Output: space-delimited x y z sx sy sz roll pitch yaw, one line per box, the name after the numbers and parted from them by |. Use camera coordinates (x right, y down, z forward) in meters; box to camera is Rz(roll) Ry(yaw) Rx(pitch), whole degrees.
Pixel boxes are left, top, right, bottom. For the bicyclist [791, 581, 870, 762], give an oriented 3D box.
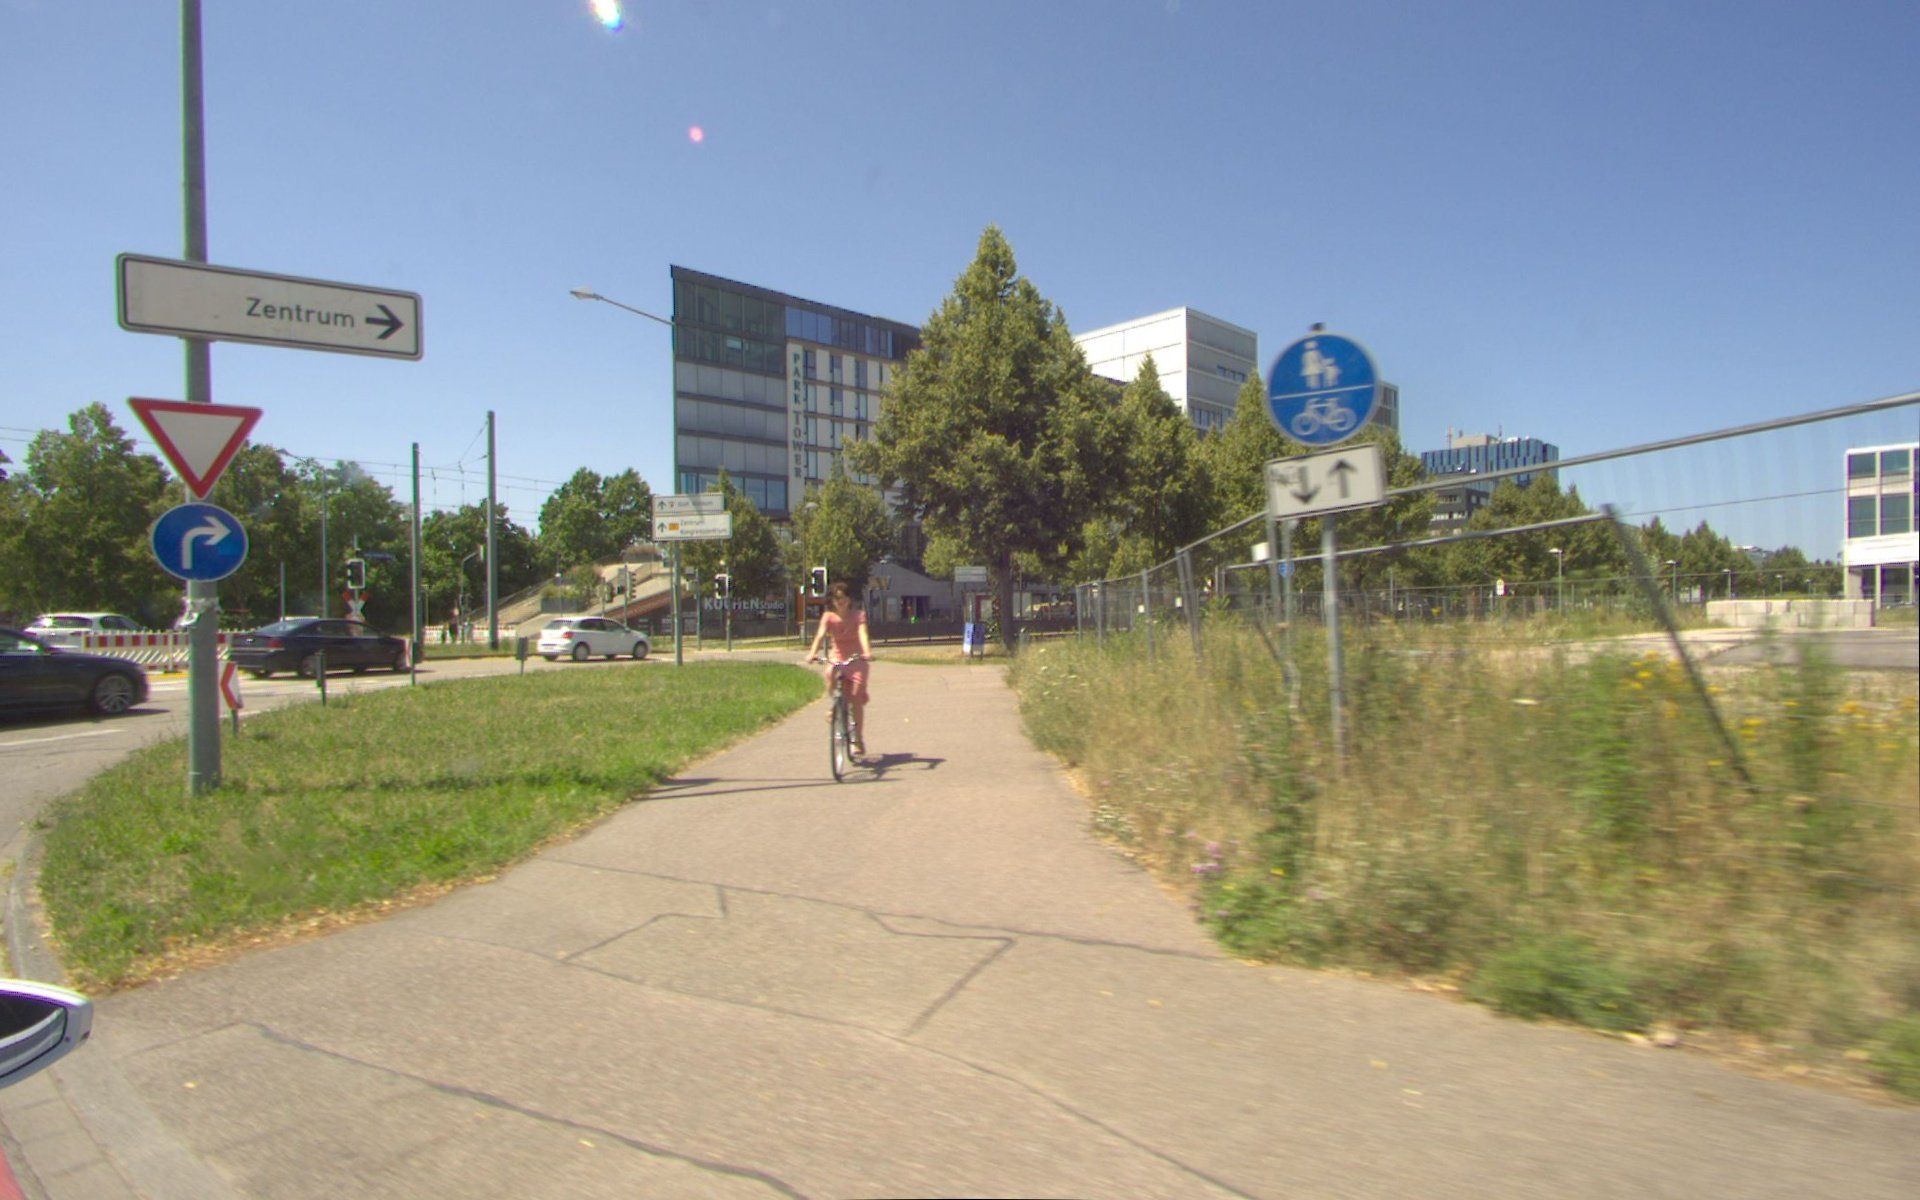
-1.240 0.675 9.704 0.633 1.686 0.710 -1 0 1 | bicyclist

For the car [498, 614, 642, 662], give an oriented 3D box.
-12.868 1.250 33.296 1.828 1.467 4.335 0 -2 28 | car

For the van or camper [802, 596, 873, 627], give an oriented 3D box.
-11.405 1.093 93.592 2.357 2.859 6.728 0 -1 43 | van or camper

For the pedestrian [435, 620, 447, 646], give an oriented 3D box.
-29.031 1.848 56.038 0.348 1.448 0.517 0 0 42 | pedestrian

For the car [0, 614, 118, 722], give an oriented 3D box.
-14.088 0.914 13.021 1.962 1.467 4.649 0 -1 10 | car

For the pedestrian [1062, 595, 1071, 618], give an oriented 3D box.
7.960 0.491 75.115 0.406 1.775 0.581 0 0 43 | pedestrian

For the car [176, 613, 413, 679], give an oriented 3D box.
-16.280 1.105 24.848 1.964 1.467 4.753 0 -2 17 | car

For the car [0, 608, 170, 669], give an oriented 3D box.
-23.874 1.001 27.388 1.964 1.505 4.360 0 -1 -15 | car

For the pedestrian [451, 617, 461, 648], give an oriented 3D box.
-28.668 1.843 57.010 0.288 1.761 0.445 0 0 45 | pedestrian

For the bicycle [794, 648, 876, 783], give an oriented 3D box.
-1.143 1.030 9.515 0.431 1.071 2.088 -1 -1 2 | bicycle

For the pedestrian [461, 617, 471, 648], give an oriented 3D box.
-28.327 1.859 57.429 0.315 1.761 0.445 0 0 45 | pedestrian
